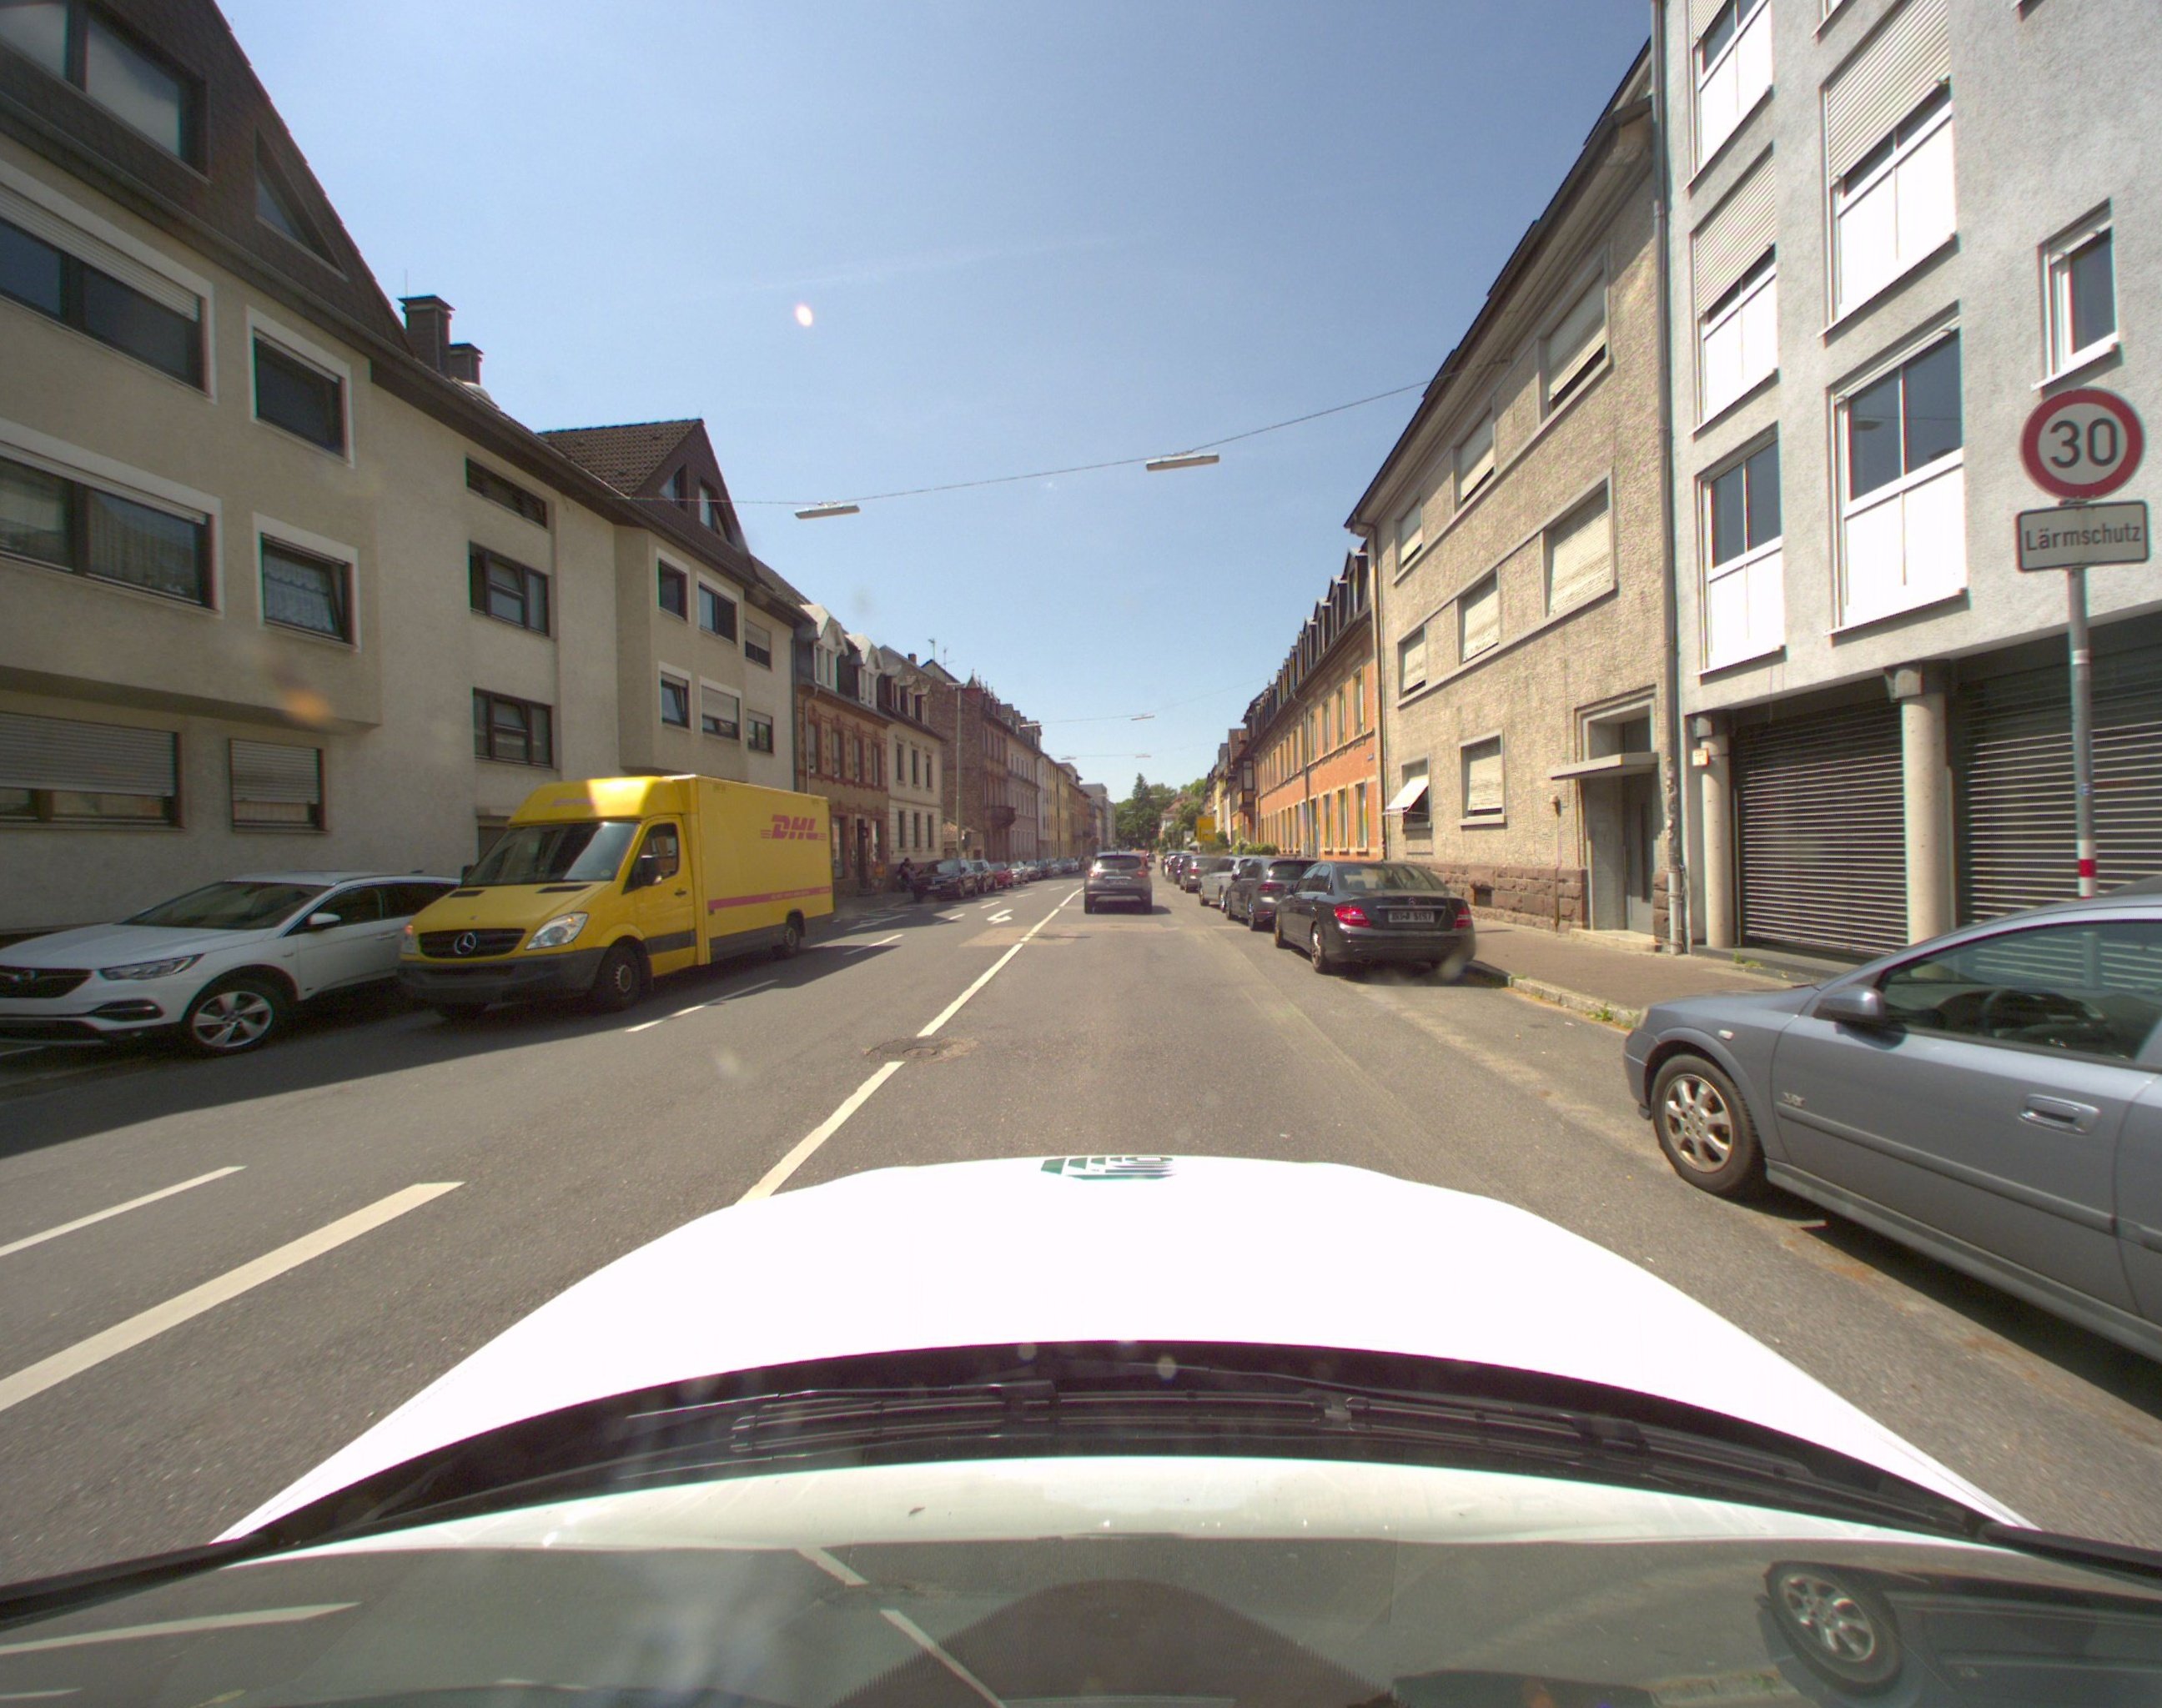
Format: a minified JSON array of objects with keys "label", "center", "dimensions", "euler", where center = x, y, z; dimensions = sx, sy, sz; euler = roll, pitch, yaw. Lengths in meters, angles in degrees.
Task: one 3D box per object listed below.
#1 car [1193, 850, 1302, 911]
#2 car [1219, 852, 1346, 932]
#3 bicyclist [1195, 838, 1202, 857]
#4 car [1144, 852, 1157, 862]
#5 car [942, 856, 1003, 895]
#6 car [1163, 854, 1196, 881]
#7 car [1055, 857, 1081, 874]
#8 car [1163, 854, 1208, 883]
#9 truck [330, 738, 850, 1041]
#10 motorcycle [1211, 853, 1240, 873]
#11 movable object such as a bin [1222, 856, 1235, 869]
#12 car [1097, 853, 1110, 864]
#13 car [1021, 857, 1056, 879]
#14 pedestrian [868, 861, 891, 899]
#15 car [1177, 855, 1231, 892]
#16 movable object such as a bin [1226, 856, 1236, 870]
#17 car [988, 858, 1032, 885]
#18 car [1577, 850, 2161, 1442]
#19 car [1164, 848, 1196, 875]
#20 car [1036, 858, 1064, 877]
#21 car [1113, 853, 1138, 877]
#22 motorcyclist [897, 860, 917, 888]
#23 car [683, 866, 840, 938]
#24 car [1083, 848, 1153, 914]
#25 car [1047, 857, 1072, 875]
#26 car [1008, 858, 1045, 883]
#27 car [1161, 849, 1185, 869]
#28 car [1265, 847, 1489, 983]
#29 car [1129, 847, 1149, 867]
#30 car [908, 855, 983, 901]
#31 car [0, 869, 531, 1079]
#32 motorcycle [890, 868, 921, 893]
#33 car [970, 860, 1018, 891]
[{"label":"car","center":[4.386,0.666,22.198],"dimensions":[1.849,1.463,4.545],"euler":[-1,0,-3]},{"label":"car","center":[4.065,0.700,17.057],"dimensions":[1.646,1.420,4.048],"euler":[-1,0,0]},{"label":"bicyclist","center":[9.427,-0.513,65.395],"dimensions":[0.530,1.469,0.792],"euler":[-2,0,6]},{"label":"car","center":[10.703,0.463,125.760],"dimensions":[1.754,1.560,3.950],"euler":[-2,0,7]},{"label":"car","center":[-5.031,0.987,38.504],"dimensions":[1.831,1.596,4.507],"euler":[-5,-1,4]},{"label":"car","center":[5.597,0.740,46.721],"dimensions":[1.708,1.414,4.596],"euler":[-2,0,5]},{"label":"car","center":[-1.196,1.053,78.198],"dimensions":[1.830,1.422,4.566],"euler":[-5,-1,6]},{"label":"car","center":[5.307,0.712,41.794],"dimensions":[1.643,1.414,4.499],"euler":[-1,0,-1]},{"label":"truck","center":[-5.753,0.344,11.507],"dimensions":[2.215,2.771,7.572],"euler":[-3,0,4]},{"label":"motorcycle","center":[11.484,0.717,64.653],"dimensions":[2.119,1.408,0.939],"euler":[-3,-1,4]},{"label":"movable object such as a bin","center":[10.111,0.581,55.819],"dimensions":[0.785,0.907,0.539],"euler":[-2,0,2]},{"label":"car","center":[3.426,0.693,123.031],"dimensions":[1.897,1.620,4.304],"euler":[-4,0,2]},{"label":"car","center":[-3.131,1.016,61.301],"dimensions":[1.830,1.422,4.510],"euler":[-5,-1,6]},{"label":"pedestrian","center":[-7.996,1.020,32.381],"dimensions":[0.605,1.495,0.972],"euler":[0,0,5]},{"label":"car","center":[4.879,0.733,32.655],"dimensions":[1.694,1.380,4.169],"euler":[-1,0,2]},{"label":"movable object such as a bin","center":[11.384,0.660,61.858],"dimensions":[0.655,1.055,0.750],"euler":[-2,0,6]},{"label":"car","center":[-4.266,1.038,49.602],"dimensions":[1.831,1.422,4.507],"euler":[-4,-1,4]},{"label":"car","center":[3.496,0.718,2.350],"dimensions":[1.672,1.454,4.143],"euler":[0,0,1]},{"label":"car","center":[6.765,0.505,56.006],"dimensions":[1.984,1.662,4.632],"euler":[-2,0,5]},{"label":"car","center":[-2.499,1.065,66.534],"dimensions":[1.832,1.422,4.506],"euler":[-4,-1,3]},{"label":"car","center":[3.409,0.814,61.982],"dimensions":[1.804,1.620,4.446],"euler":[-3,0,4]},{"label":"motorcyclist","center":[-8.012,0.901,37.522],"dimensions":[0.715,1.248,0.713],"euler":[-2,0,3]},{"label":"car","center":[-7.504,1.061,19.693],"dimensions":[1.832,1.488,4.505],"euler":[1,0,2]},{"label":"car","center":[0.946,0.666,22.240],"dimensions":[1.738,1.616,4.000],"euler":[0,0,1]},{"label":"car","center":[-1.869,1.073,72.442],"dimensions":[1.832,1.422,4.650],"euler":[-4,-1,3]},{"label":"car","center":[-3.668,1.079,55.447],"dimensions":[1.832,1.422,4.506],"euler":[-6,-1,3]},{"label":"car","center":[8.325,0.454,73.662],"dimensions":[1.853,1.748,4.621],"euler":[0,0,2]},{"label":"car","center":[3.817,0.685,11.354],"dimensions":[1.704,1.473,4.442],"euler":[-2,0,3]},{"label":"car","center":[6.272,0.335,88.075],"dimensions":[1.983,2.013,4.473],"euler":[-2,0,6]},{"label":"car","center":[-5.320,0.904,32.533],"dimensions":[1.831,1.597,4.507],"euler":[-4,-1,4]},{"label":"car","center":[-8.395,1.005,8.752],"dimensions":[1.832,1.596,4.389],"euler":[1,0,2]},{"label":"motorcycle","center":[-8.058,1.218,37.470],"dimensions":[0.841,1.078,1.874],"euler":[-2,0,5]},{"label":"car","center":[-4.540,1.088,43.087],"dimensions":[1.833,1.422,4.504],"euler":[-4,0,1]}]
